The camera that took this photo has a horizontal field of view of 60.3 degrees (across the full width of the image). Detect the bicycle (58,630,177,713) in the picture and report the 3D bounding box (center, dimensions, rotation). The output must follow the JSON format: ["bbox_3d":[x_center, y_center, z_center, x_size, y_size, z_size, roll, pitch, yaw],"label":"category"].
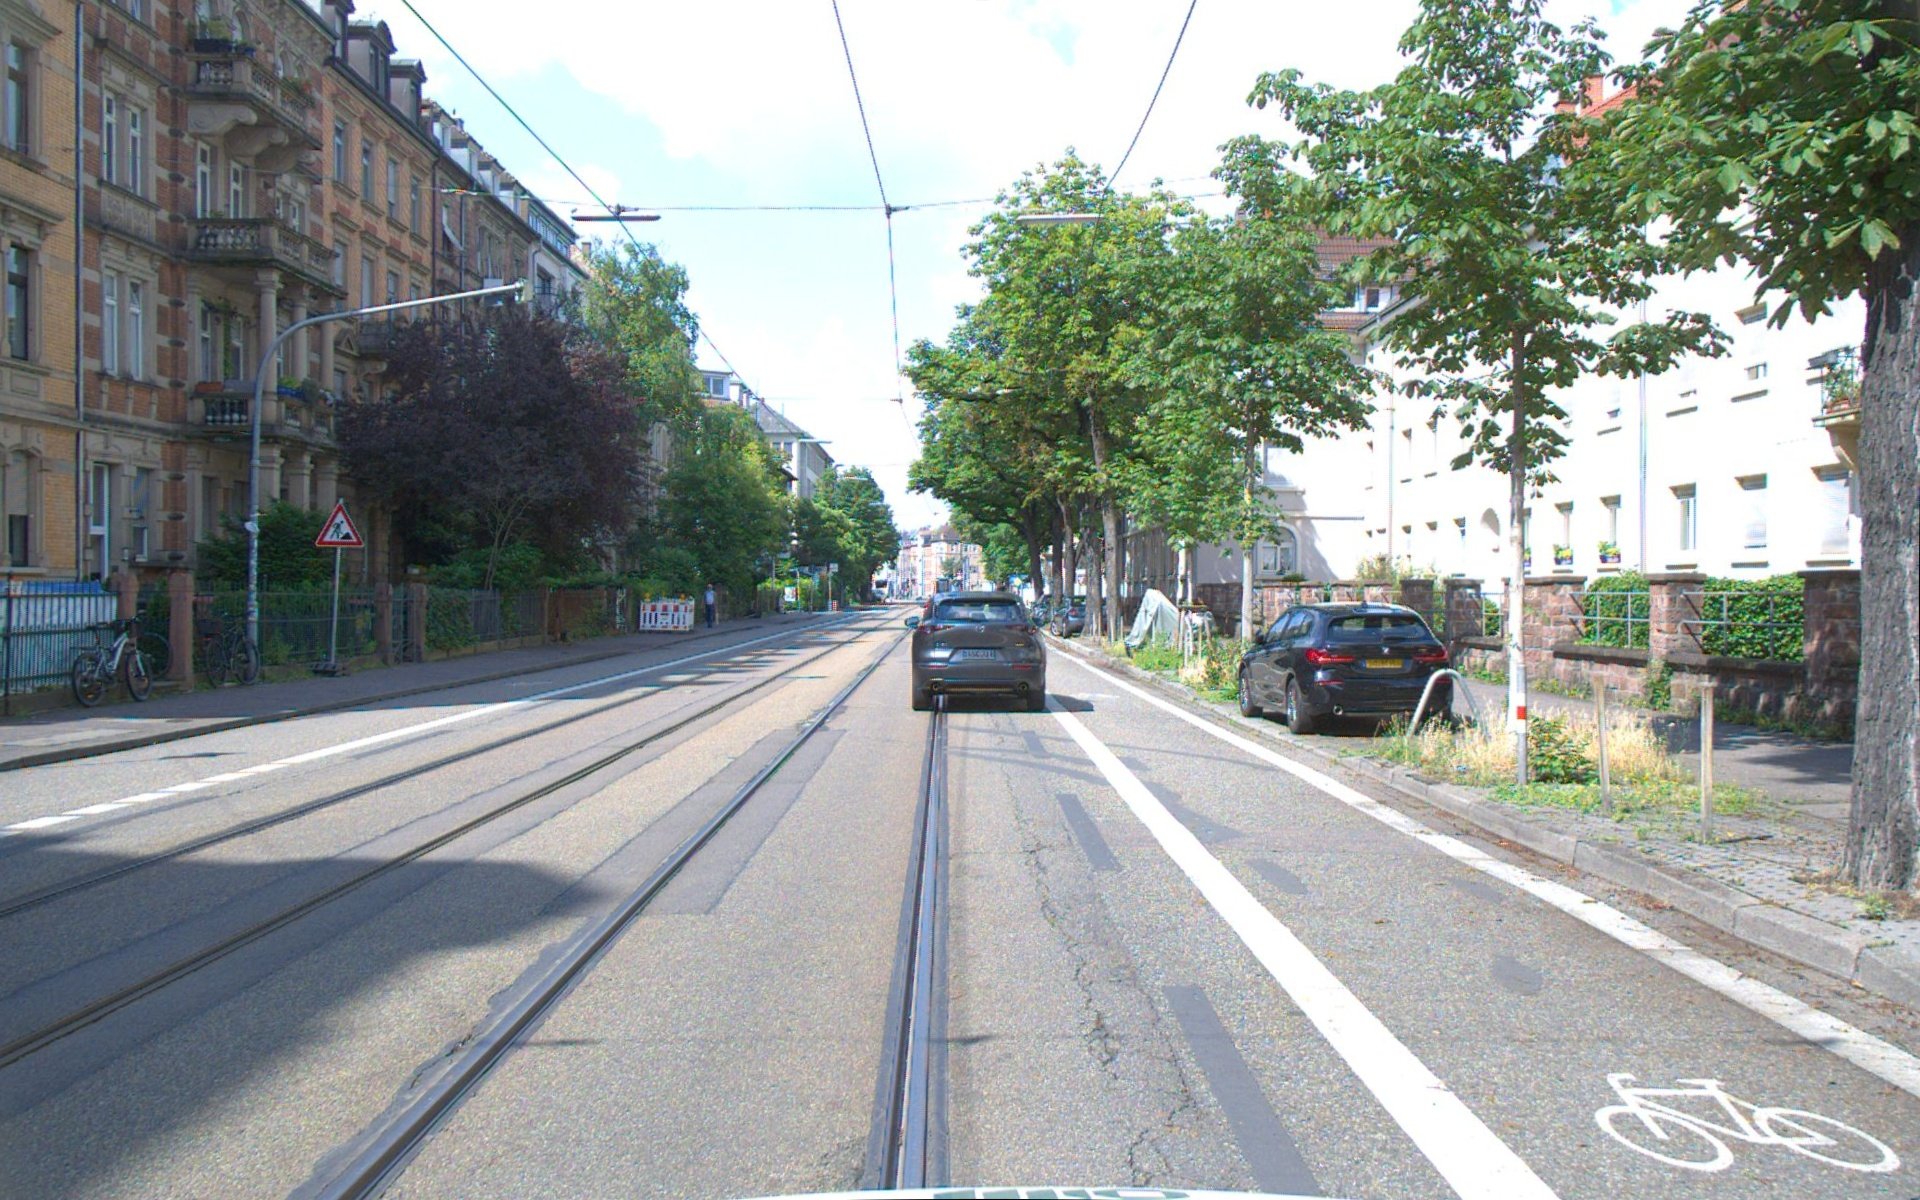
[{"bbox_3d":[-10.647,0.881,20.976,0.519,0.963,1.967,0,0,-1],"label":"bicycle"}]

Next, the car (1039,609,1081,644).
[{"bbox_3d":[4.519,1.176,75.418,1.632,1.455,3.766,-2,0,0],"label":"car"}]

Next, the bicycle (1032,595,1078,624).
[{"bbox_3d":[4.068,0.410,70.802,1.895,1.196,0.513,-1,-1,11],"label":"bicycle"}]

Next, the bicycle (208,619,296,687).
[{"bbox_3d":[-10.794,0.790,25.273,0.519,0.963,1.967,0,0,-1],"label":"bicycle"}]

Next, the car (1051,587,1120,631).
[{"bbox_3d":[4.345,0.295,57.948,1.810,1.434,4.391,-2,0,-4],"label":"car"}]

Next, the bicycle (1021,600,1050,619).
[{"bbox_3d":[3.873,0.493,85.138,1.460,1.000,0.259,-1,0,1],"label":"bicycle"}]

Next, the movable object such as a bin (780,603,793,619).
[{"bbox_3d":[-11.085,0.684,105.681,0.730,1.005,1.114,2,0,-1],"label":"movable object such as a bin"}]

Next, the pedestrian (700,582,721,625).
[{"bbox_3d":[-10.279,0.143,68.137,0.806,1.736,0.891,0,0,-4],"label":"pedestrian"}]

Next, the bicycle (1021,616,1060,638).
[{"bbox_3d":[3.865,1.304,79.864,1.864,1.091,0.402,0,0,-1],"label":"bicycle"}]

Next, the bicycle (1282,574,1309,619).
[{"bbox_3d":[9.372,-0.097,46.206,0.403,1.233,1.704,0,0,0],"label":"bicycle"}]

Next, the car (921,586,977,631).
[{"bbox_3d":[-0.426,0.301,60.958,1.953,1.555,3.999,2,0,-1],"label":"car"}]

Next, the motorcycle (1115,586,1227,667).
[{"bbox_3d":[4.494,0.548,35.409,2.342,1.625,0.675,2,1,38],"label":"motorcycle"}]

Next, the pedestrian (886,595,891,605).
[{"bbox_3d":[-10.723,0.021,247.644,0.736,1.537,0.823,0,0,-5],"label":"pedestrian"}]

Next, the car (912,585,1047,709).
[{"bbox_3d":[0.220,0.582,22.507,1.685,1.553,3.589,0,0,-1],"label":"car"}]

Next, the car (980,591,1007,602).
[{"bbox_3d":[5.232,-0.583,259.093,3.748,1.646,1.629,2,0,-19],"label":"car"}]

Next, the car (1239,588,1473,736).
[{"bbox_3d":[4.554,0.654,19.633,1.671,1.505,4.196,2,0,-1],"label":"car"}]

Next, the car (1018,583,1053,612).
[{"bbox_3d":[5.321,-0.190,117.394,1.753,1.972,4.984,0,0,-7],"label":"car"}]

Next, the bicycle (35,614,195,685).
[{"bbox_3d":[-11.845,0.693,23.218,1.923,0.963,0.531,1,0,-6],"label":"bicycle"}]
